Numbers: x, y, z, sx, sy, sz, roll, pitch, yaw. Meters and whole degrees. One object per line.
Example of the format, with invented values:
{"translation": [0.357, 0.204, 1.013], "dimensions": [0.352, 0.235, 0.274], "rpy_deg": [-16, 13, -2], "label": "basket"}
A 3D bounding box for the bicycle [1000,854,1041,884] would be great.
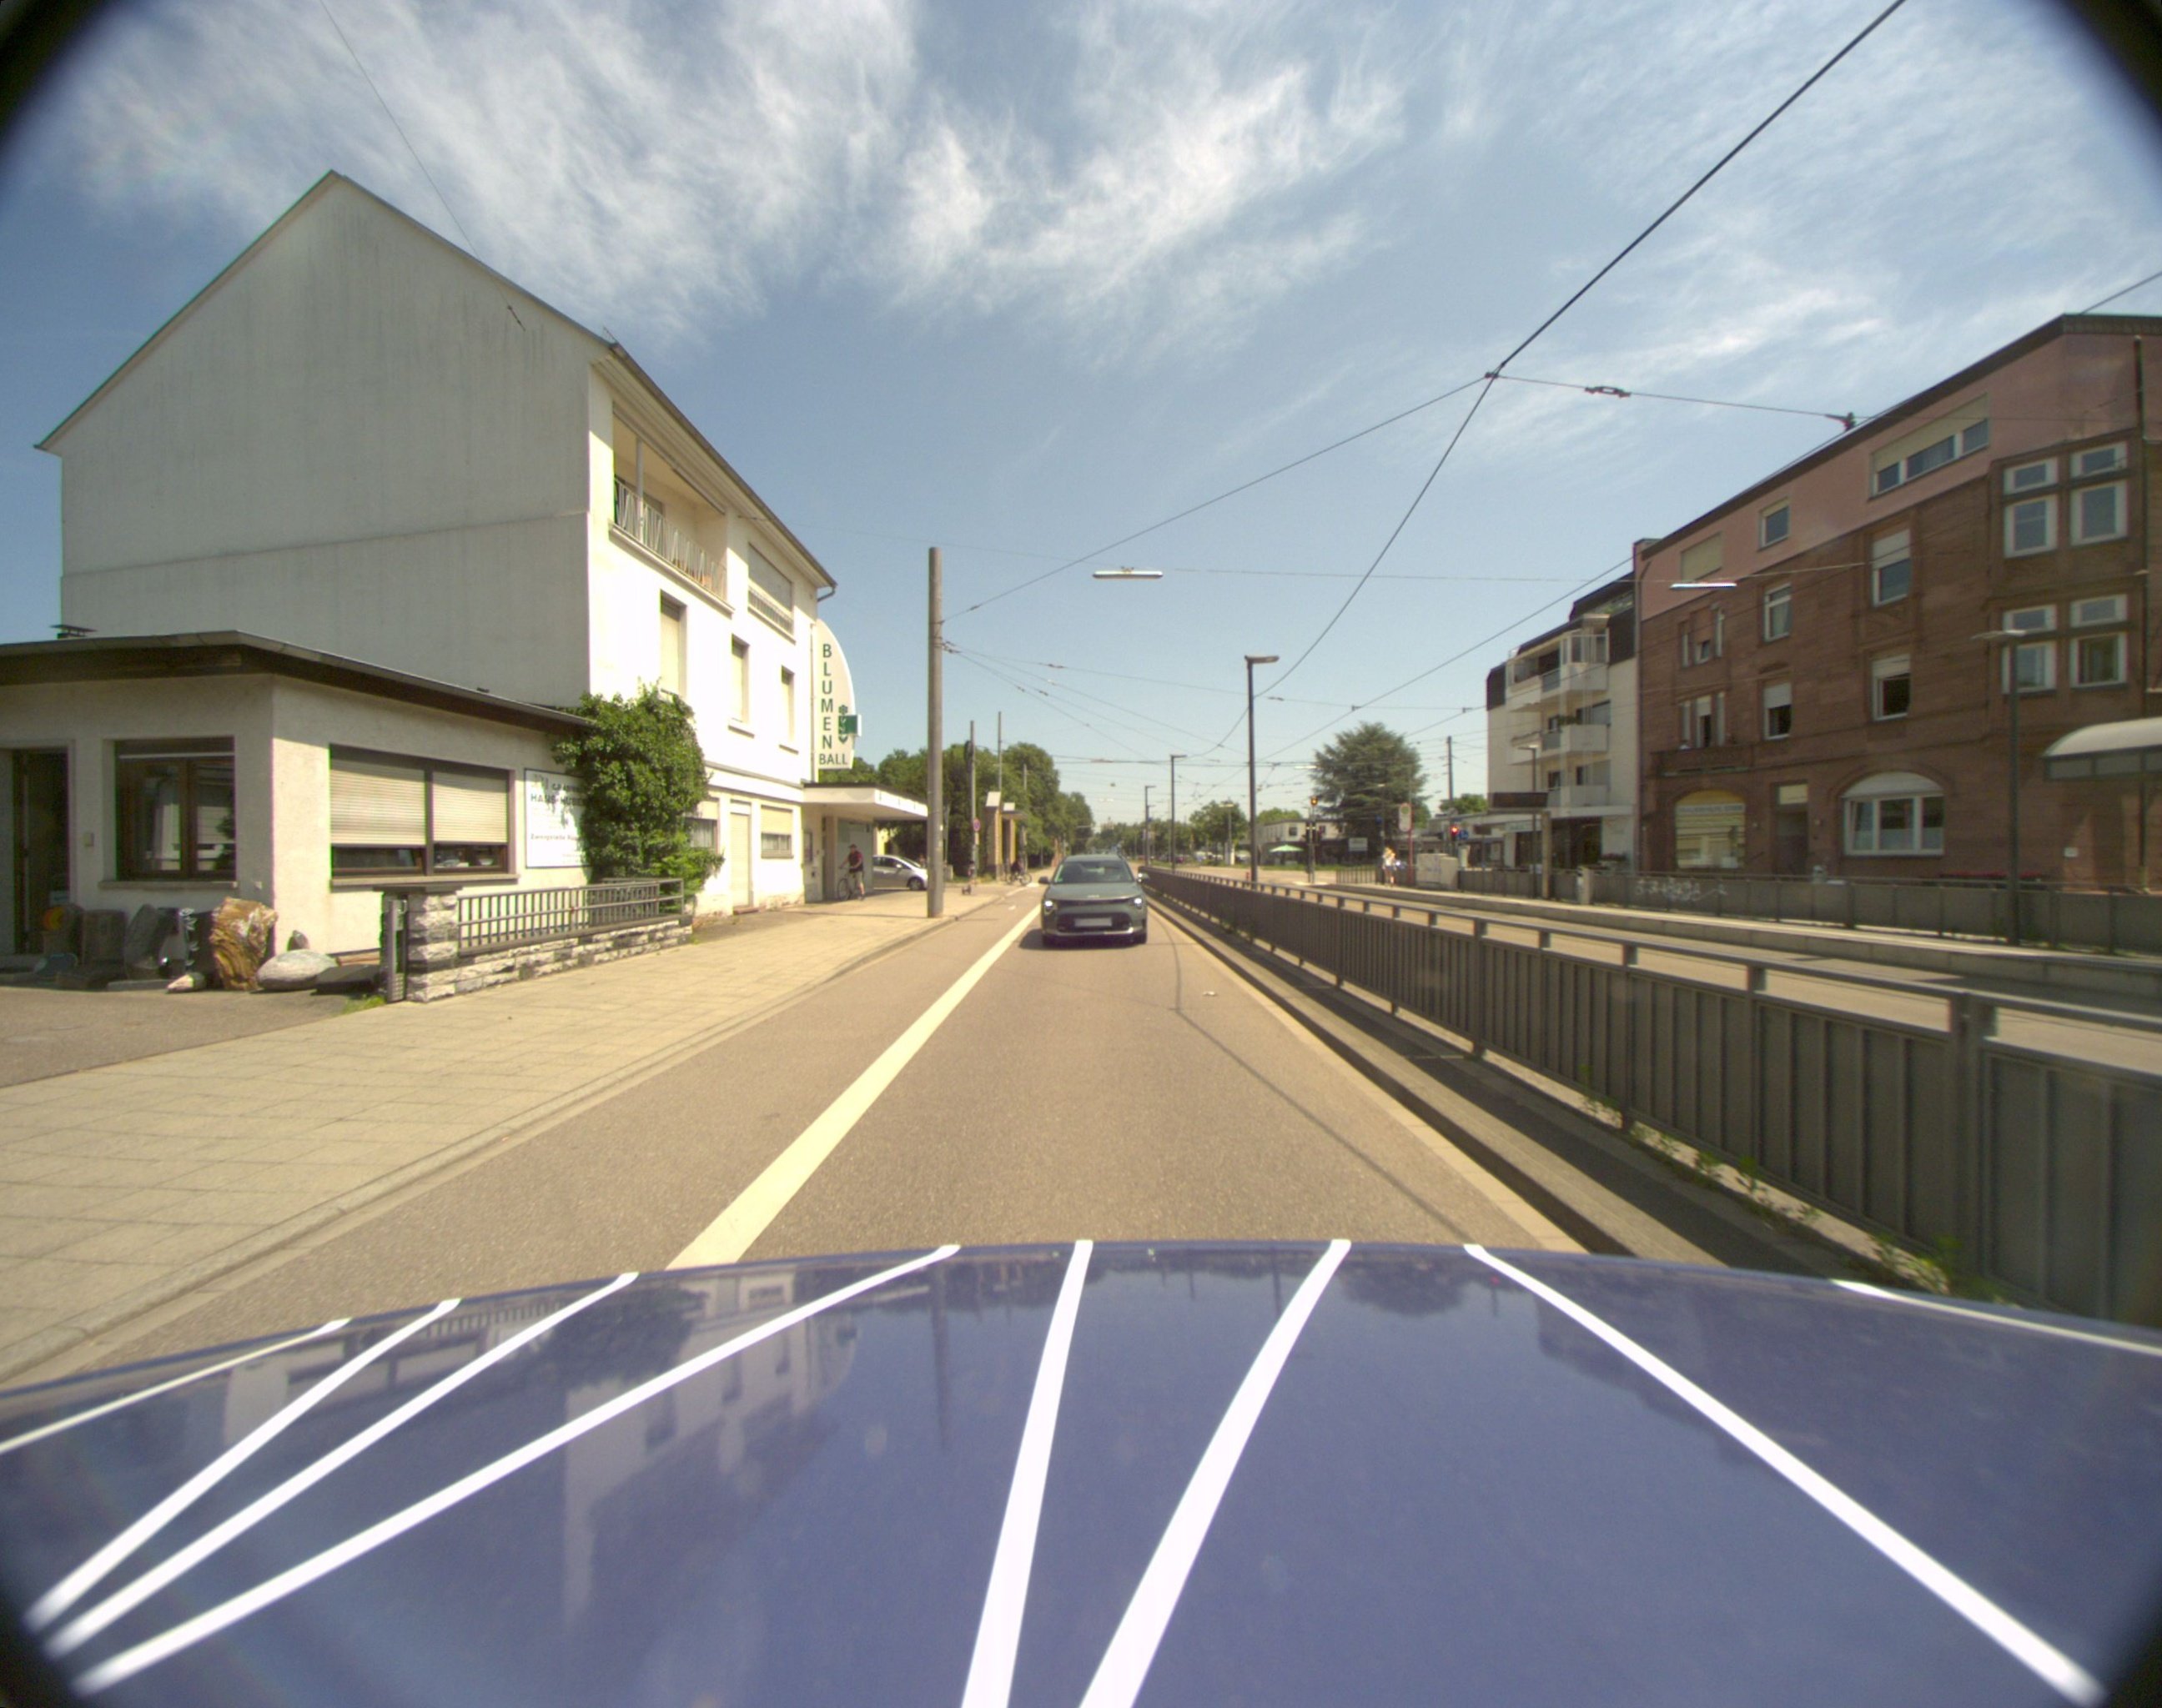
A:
{"translation": [-3.458, 0.871, 43.173], "dimensions": [2.054, 1.580, 0.888], "rpy_deg": [4, 0, -31], "label": "bicycle"}

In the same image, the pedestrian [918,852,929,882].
{"translation": [-8.373, 0.674, 40.327], "dimensions": [0.536, 1.589, 0.425], "rpy_deg": [-2, 1, -13], "label": "pedestrian"}

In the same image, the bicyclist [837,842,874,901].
{"translation": [-7.358, 0.574, 24.777], "dimensions": [0.790, 1.863, 0.888], "rpy_deg": [2, 0, 8], "label": "bicyclist"}

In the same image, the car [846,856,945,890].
{"translation": [-8.328, 0.835, 34.292], "dimensions": [3.996, 1.508, 1.698], "rpy_deg": [0, 0, 2], "label": "car"}

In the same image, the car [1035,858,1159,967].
{"translation": [0.269, 0.889, 13.550], "dimensions": [1.827, 1.546, 4.487], "rpy_deg": [-1, 0, 1], "label": "car"}

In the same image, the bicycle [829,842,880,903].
{"translation": [-7.365, 0.586, 24.792], "dimensions": [0.799, 1.889, 1.960], "rpy_deg": [2, 0, 8], "label": "bicycle"}

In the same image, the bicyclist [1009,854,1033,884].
{"translation": [-3.409, 0.848, 43.199], "dimensions": [0.988, 1.568, 0.866], "rpy_deg": [4, 0, -31], "label": "bicyclist"}

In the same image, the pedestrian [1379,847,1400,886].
{"translation": [12.938, 0.501, 31.852], "dimensions": [0.597, 1.615, 0.676], "rpy_deg": [1, 1, 1], "label": "pedestrian"}
